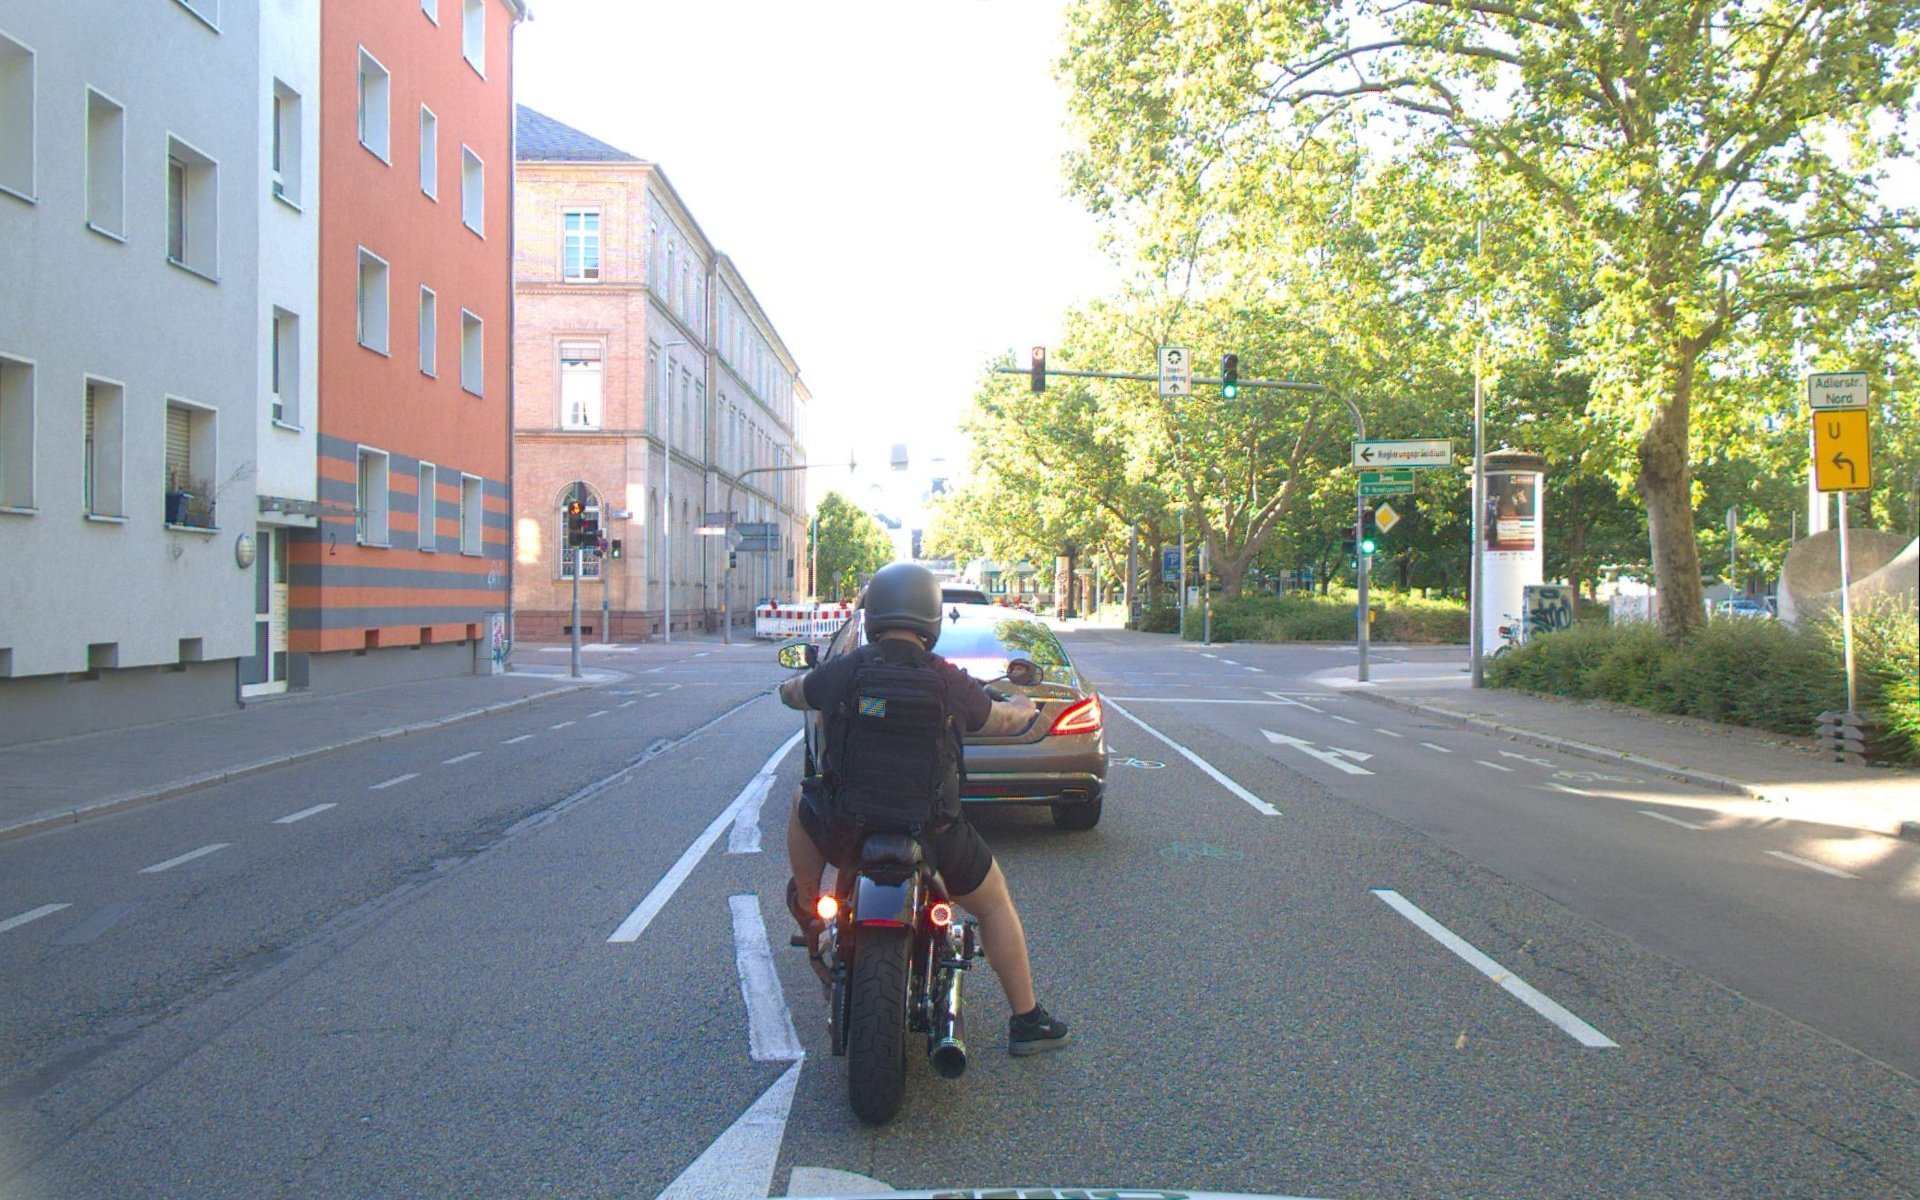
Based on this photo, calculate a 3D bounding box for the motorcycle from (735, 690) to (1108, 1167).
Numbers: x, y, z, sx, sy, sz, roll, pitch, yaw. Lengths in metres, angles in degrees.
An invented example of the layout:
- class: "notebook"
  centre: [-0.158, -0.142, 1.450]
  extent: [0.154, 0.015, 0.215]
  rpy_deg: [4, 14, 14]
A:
- class: "motorcycle"
  centre: [-0.117, 0.923, 5.541]
  extent: [0.969, 1.097, 2.451]
  rpy_deg: [0, 0, -1]

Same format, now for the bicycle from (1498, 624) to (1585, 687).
- class: "bicycle"
  centre: [9.734, 0.922, 27.694]
  extent: [1.324, 1.041, 0.363]
  rpy_deg: [0, 0, 0]

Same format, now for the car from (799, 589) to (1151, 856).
- class: "car"
  centre: [-0.113, 0.681, 11.581]
  extent: [1.909, 1.498, 4.355]
  rpy_deg: [0, 0, -7]

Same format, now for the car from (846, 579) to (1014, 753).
- class: "car"
  centre: [-0.335, 0.616, 17.744]
  extent: [1.580, 1.636, 4.327]
  rpy_deg: [0, 0, -2]

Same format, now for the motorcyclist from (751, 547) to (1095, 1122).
- class: "motorcyclist"
  centre: [-0.112, 0.660, 5.387]
  extent: [0.969, 1.625, 1.403]
  rpy_deg: [0, 0, -1]
